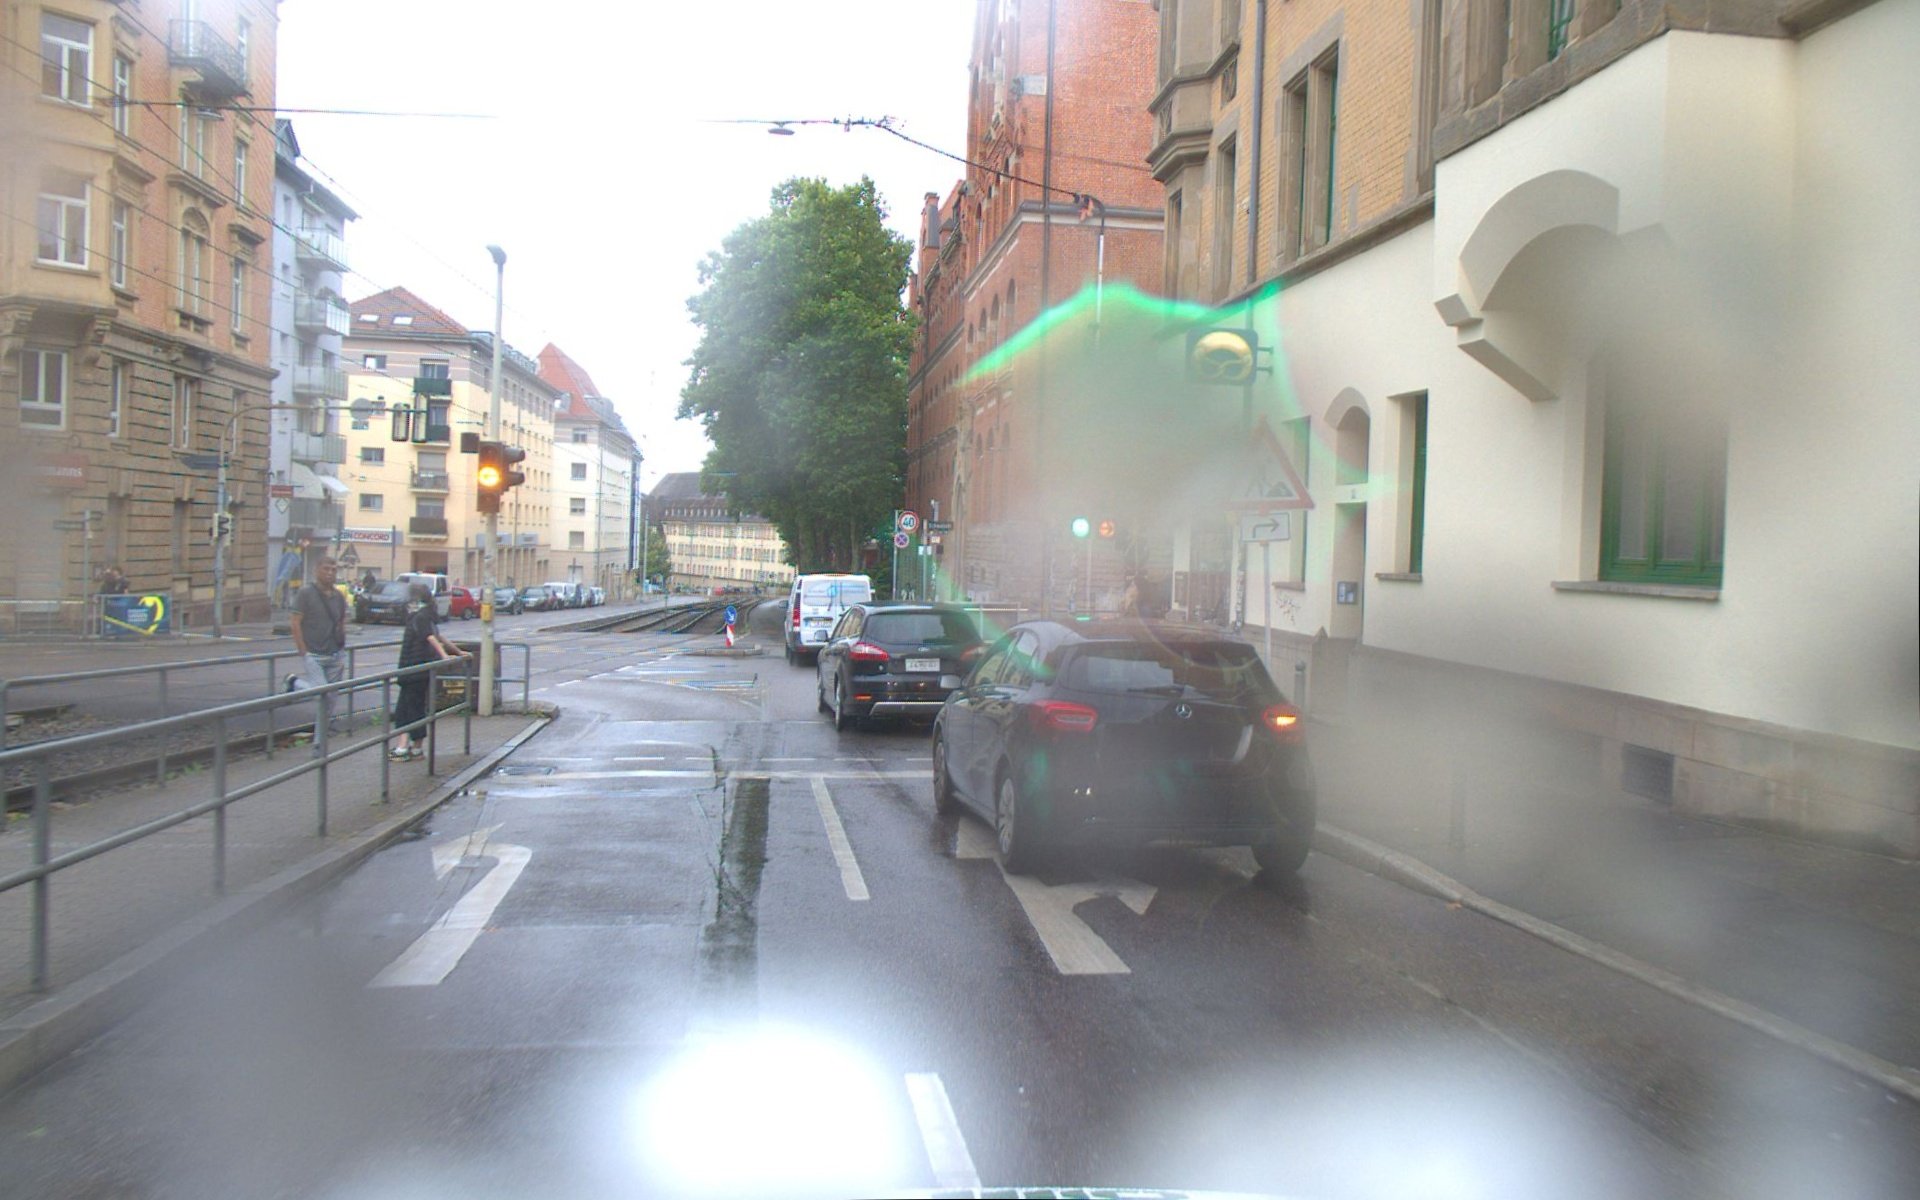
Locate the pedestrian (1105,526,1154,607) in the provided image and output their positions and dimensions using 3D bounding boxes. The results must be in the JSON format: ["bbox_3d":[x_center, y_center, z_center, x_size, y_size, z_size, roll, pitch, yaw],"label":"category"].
[{"bbox_3d":[4.058,-0.797,39.696,0.940,1.920,1.072,0,0,-7],"label":"pedestrian"}]

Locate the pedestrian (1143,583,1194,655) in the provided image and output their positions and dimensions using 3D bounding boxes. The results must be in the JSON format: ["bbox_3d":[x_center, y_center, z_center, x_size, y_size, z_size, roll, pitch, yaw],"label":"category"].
[{"bbox_3d":[4.868,0.431,38.750,0.940,1.654,1.072,0,0,-7],"label":"pedestrian"}]

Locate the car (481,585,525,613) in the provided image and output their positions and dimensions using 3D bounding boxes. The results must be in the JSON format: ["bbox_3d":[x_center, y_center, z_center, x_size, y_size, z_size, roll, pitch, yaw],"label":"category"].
[{"bbox_3d":[-24.344,-0.032,88.184,1.648,1.420,4.614,1,0,-8],"label":"car"}]

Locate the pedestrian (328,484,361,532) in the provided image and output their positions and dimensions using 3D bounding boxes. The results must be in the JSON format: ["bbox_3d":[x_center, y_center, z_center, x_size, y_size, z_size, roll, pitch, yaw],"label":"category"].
[{"bbox_3d":[-26.465,-3.961,71.133,1.152,1.962,1.174,2,0,-14],"label":"pedestrian"}]

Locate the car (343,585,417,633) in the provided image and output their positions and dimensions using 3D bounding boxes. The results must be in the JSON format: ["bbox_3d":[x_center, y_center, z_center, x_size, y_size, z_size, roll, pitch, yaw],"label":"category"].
[{"bbox_3d":[-21.656,0.315,61.876,1.700,1.680,4.356,2,0,-7],"label":"car"}]

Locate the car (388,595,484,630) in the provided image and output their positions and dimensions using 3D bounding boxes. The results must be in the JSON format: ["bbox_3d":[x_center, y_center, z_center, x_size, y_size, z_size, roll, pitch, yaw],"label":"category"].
[{"bbox_3d":[-23.104,0.575,73.098,1.745,1.459,3.977,1,0,27],"label":"car"}]

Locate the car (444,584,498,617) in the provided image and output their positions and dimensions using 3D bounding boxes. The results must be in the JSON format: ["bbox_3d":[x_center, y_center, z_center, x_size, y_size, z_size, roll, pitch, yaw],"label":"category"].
[{"bbox_3d":[-23.437,0.025,79.341,1.621,1.477,4.070,1,0,-4],"label":"car"}]

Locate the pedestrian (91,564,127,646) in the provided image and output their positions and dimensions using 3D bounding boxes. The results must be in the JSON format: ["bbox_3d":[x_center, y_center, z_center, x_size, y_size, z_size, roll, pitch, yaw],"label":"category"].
[{"bbox_3d":[-19.649,0.112,38.189,0.621,1.872,0.631,0,0,-39],"label":"pedestrian"}]

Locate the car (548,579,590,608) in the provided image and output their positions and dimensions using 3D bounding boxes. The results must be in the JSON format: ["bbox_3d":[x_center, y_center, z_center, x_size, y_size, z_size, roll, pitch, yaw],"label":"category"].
[{"bbox_3d":[-28.073,-0.482,118.989,1.954,1.938,5.456,3,0,-3],"label":"car"}]

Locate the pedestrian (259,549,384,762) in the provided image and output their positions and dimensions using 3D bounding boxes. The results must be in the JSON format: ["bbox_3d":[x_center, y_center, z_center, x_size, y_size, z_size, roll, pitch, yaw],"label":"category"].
[{"bbox_3d":[-5.691,0.485,14.800,0.810,1.830,0.999,1,0,-9],"label":"pedestrian"}]

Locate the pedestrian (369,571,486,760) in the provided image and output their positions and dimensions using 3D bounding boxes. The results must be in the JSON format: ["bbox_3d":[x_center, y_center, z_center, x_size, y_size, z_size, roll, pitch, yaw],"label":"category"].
[{"bbox_3d":[-4.759,0.572,14.838,0.819,1.633,0.999,1,0,-9],"label":"pedestrian"}]

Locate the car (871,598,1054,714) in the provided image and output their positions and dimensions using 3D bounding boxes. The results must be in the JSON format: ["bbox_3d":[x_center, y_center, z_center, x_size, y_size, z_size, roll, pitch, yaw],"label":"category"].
[{"bbox_3d":[-0.070,0.742,23.943,1.898,1.478,4.307,2,0,-10],"label":"car"}]

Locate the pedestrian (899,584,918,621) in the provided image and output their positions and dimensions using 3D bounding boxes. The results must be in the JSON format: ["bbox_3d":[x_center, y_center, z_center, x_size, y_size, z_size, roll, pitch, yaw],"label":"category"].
[{"bbox_3d":[-2.374,0.123,76.391,0.807,1.708,0.859,1,0,-4],"label":"pedestrian"}]

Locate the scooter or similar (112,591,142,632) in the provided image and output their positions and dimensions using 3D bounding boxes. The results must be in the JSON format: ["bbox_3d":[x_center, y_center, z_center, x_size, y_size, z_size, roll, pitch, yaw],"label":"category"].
[{"bbox_3d":[-19.939,0.270,39.603,0.549,0.961,0.570,1,0,-37],"label":"scooter or similar"}]

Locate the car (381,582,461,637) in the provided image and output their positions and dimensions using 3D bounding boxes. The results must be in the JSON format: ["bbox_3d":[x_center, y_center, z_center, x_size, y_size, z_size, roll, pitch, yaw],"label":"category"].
[{"bbox_3d":[-22.237,0.348,68.427,2.031,2.044,5.294,4,0,-7],"label":"car"}]

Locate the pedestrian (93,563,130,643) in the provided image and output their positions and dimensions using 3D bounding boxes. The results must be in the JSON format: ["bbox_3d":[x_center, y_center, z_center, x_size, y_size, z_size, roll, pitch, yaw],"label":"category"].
[{"bbox_3d":[-19.669,0.058,38.332,0.622,1.797,0.631,-2,4,-39],"label":"pedestrian"}]

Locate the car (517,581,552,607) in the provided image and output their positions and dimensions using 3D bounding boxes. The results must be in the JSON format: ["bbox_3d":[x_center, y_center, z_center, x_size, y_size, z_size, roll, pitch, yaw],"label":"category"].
[{"bbox_3d":[-26.072,-0.377,101.376,1.819,1.534,4.977,1,0,-12],"label":"car"}]

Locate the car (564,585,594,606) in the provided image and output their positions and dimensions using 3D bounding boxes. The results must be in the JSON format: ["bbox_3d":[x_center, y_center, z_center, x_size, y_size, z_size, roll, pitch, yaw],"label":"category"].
[{"bbox_3d":[-29.511,-0.347,128.236,1.779,1.525,4.575,2,0,-7],"label":"car"}]

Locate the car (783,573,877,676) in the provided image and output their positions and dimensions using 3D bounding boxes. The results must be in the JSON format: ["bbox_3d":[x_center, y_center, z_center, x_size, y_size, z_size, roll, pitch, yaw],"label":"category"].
[{"bbox_3d":[-2.843,0.505,35.562,1.708,2.049,3.896,1,0,-9],"label":"car"}]

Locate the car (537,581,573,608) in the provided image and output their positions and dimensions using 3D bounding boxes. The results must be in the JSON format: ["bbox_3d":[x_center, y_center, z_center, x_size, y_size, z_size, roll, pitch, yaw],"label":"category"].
[{"bbox_3d":[-27.595,-0.378,112.796,1.831,1.747,4.454,1,0,-6],"label":"car"}]

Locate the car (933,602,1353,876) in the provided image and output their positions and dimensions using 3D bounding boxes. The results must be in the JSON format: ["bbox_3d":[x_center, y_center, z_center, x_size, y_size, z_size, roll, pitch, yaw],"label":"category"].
[{"bbox_3d":[0.948,0.749,10.698,1.760,1.399,3.993,2,0,-8],"label":"car"}]

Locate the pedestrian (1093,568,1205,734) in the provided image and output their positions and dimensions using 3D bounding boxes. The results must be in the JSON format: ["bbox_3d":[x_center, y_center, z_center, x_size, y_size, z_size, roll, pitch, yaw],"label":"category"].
[{"bbox_3d":[2.072,0.548,18.246,0.997,1.750,0.929,-2,0,-6],"label":"pedestrian"}]
